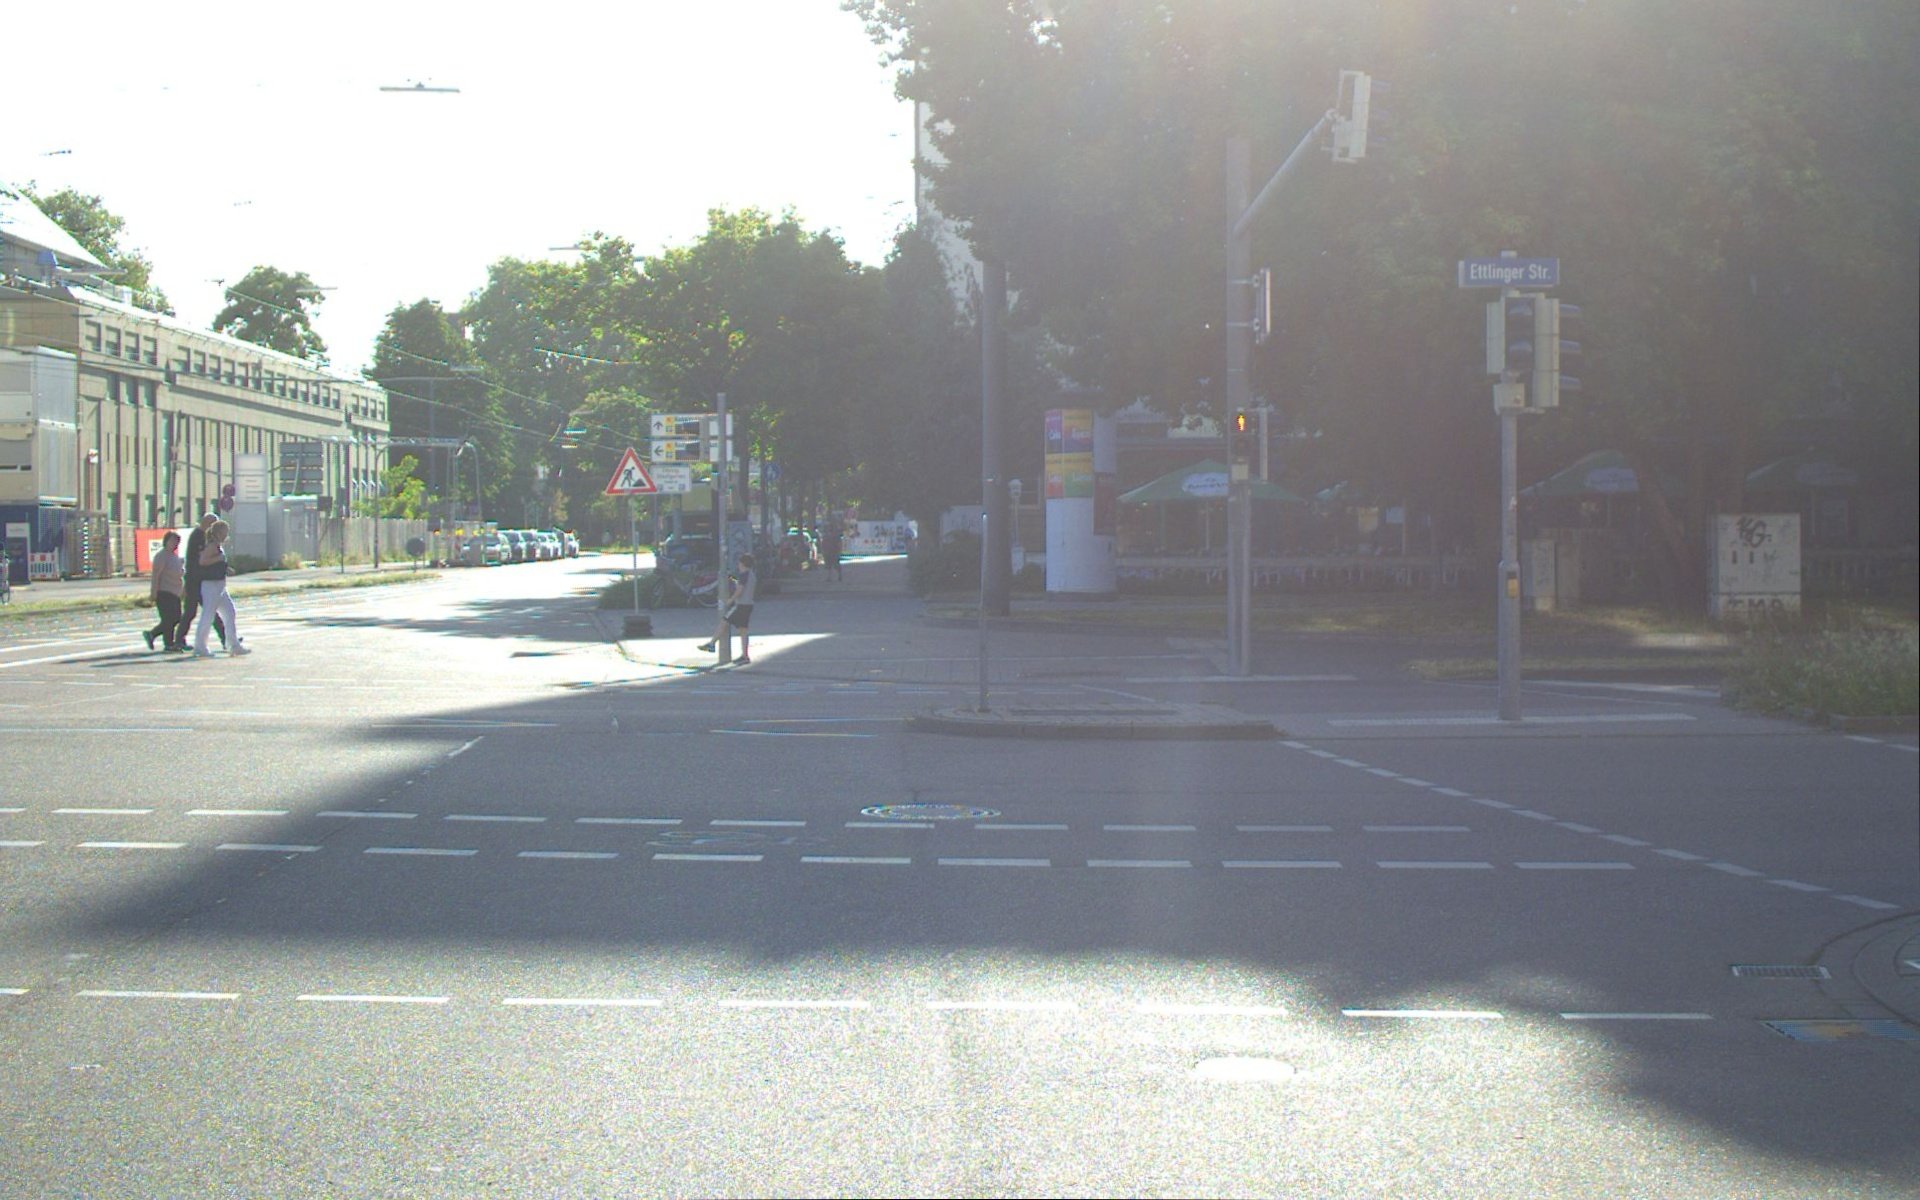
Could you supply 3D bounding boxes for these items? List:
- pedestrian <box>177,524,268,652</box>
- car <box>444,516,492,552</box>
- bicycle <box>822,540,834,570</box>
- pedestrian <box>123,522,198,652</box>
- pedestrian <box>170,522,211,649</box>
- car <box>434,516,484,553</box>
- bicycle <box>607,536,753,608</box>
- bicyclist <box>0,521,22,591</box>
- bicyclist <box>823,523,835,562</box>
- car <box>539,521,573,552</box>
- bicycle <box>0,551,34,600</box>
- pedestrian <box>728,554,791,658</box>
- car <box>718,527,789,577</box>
[{"bbox_3d":[-9.227,-0.146,43.032,0.984,1.582,0.660,0,0,1],"label":"pedestrian"},{"bbox_3d":[-22.905,-3.087,160.147,1.731,1.647,4.000,0,1,-1],"label":"car"},{"bbox_3d":[-3.835,-1.322,99.987,0.324,0.865,1.483,-1,1,-1],"label":"bicycle"},{"bbox_3d":[-10.136,-0.167,43.611,0.795,1.634,0.533,0,1,2],"label":"pedestrian"},{"bbox_3d":[-10.040,-0.192,44.854,0.441,1.657,0.376,-1,1,-1],"label":"pedestrian"},{"bbox_3d":[-22.738,-2.954,156.024,1.731,1.647,4.000,0,1,-1],"label":"car"},{"bbox_3d":[-5.470,-0.551,67.143,2.748,1.363,0.630,1,0,11],"label":"bicycle"},{"bbox_3d":[-22.539,-1.038,80.551,0.875,1.636,0.822,0,1,1],"label":"bicyclist"},{"bbox_3d":[-3.810,-1.679,99.925,0.318,1.123,0.291,-1,1,-1],"label":"bicyclist"},{"bbox_3d":[-22.839,-3.591,194.458,1.483,1.744,4.000,-1,1,-1],"label":"car"},{"bbox_3d":[-22.549,-0.582,80.534,0.875,1.117,3.013,0,1,1],"label":"bicycle"},{"bbox_3d":[-2.584,0.071,44.344,0.752,1.328,0.742,0,1,1],"label":"pedestrian"},{"bbox_3d":[-5.440,-1.267,90.877,1.819,1.274,4.001,0,1,-3],"label":"car"}]
